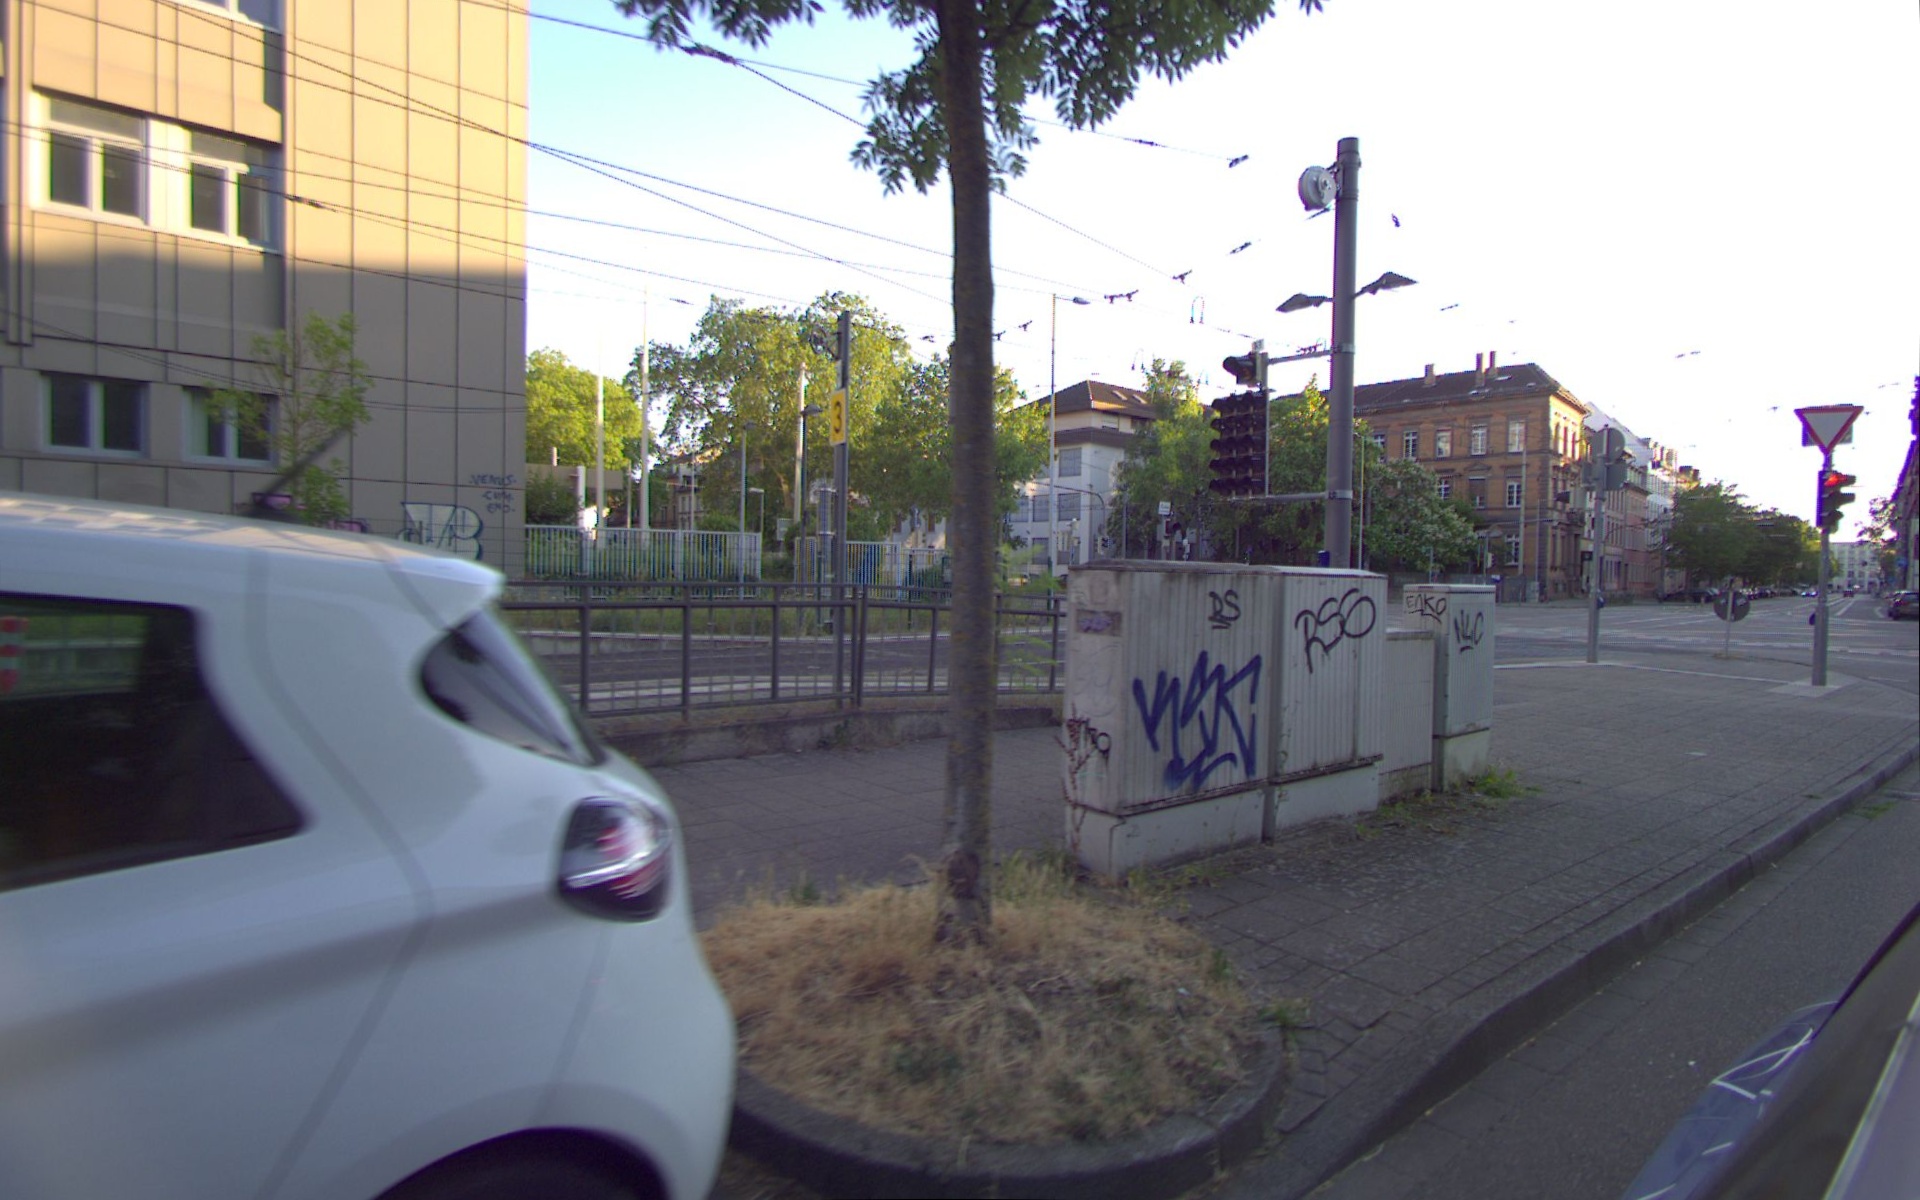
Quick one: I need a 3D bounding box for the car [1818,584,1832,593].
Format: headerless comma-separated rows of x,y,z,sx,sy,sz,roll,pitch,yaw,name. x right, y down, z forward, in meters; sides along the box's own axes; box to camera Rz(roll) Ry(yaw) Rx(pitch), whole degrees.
155.598,-2.092,182.022,1.780,1.475,4.232,2,2,41,car

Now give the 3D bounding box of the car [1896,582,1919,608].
55.291,-0.290,58.365,1.782,1.475,4.228,2,2,44,car

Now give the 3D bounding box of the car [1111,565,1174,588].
13.425,-1.731,74.539,1.966,1.652,4.225,0,2,-42,car

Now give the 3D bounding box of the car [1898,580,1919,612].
47.418,-0.192,49.521,4.227,1.475,2.003,0,2,-45,car

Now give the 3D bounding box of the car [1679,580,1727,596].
72.520,-1.166,98.793,3.756,1.504,1.880,2,2,39,car

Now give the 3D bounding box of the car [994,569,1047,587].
5.001,-1.813,83.957,1.966,1.442,4.225,0,2,-42,car

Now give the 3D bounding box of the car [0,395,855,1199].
-2.250,0.519,1.104,3.945,1.602,1.751,0,5,-43,car

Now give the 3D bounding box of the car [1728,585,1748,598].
94.020,-0.999,122.308,1.778,1.475,4.237,2,2,38,car

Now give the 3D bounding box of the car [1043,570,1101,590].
8.788,-1.572,79.578,1.966,1.442,4.353,0,2,-42,car

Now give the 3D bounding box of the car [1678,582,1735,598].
77.608,-1.049,105.219,4.683,1.504,1.880,2,2,39,car

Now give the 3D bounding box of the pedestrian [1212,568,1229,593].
16.186,-1.209,62.900,0.802,1.545,0.580,0,1,-36,pedestrian

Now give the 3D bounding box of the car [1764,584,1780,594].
124.652,-1.683,155.397,1.778,1.453,4.237,2,2,38,car
